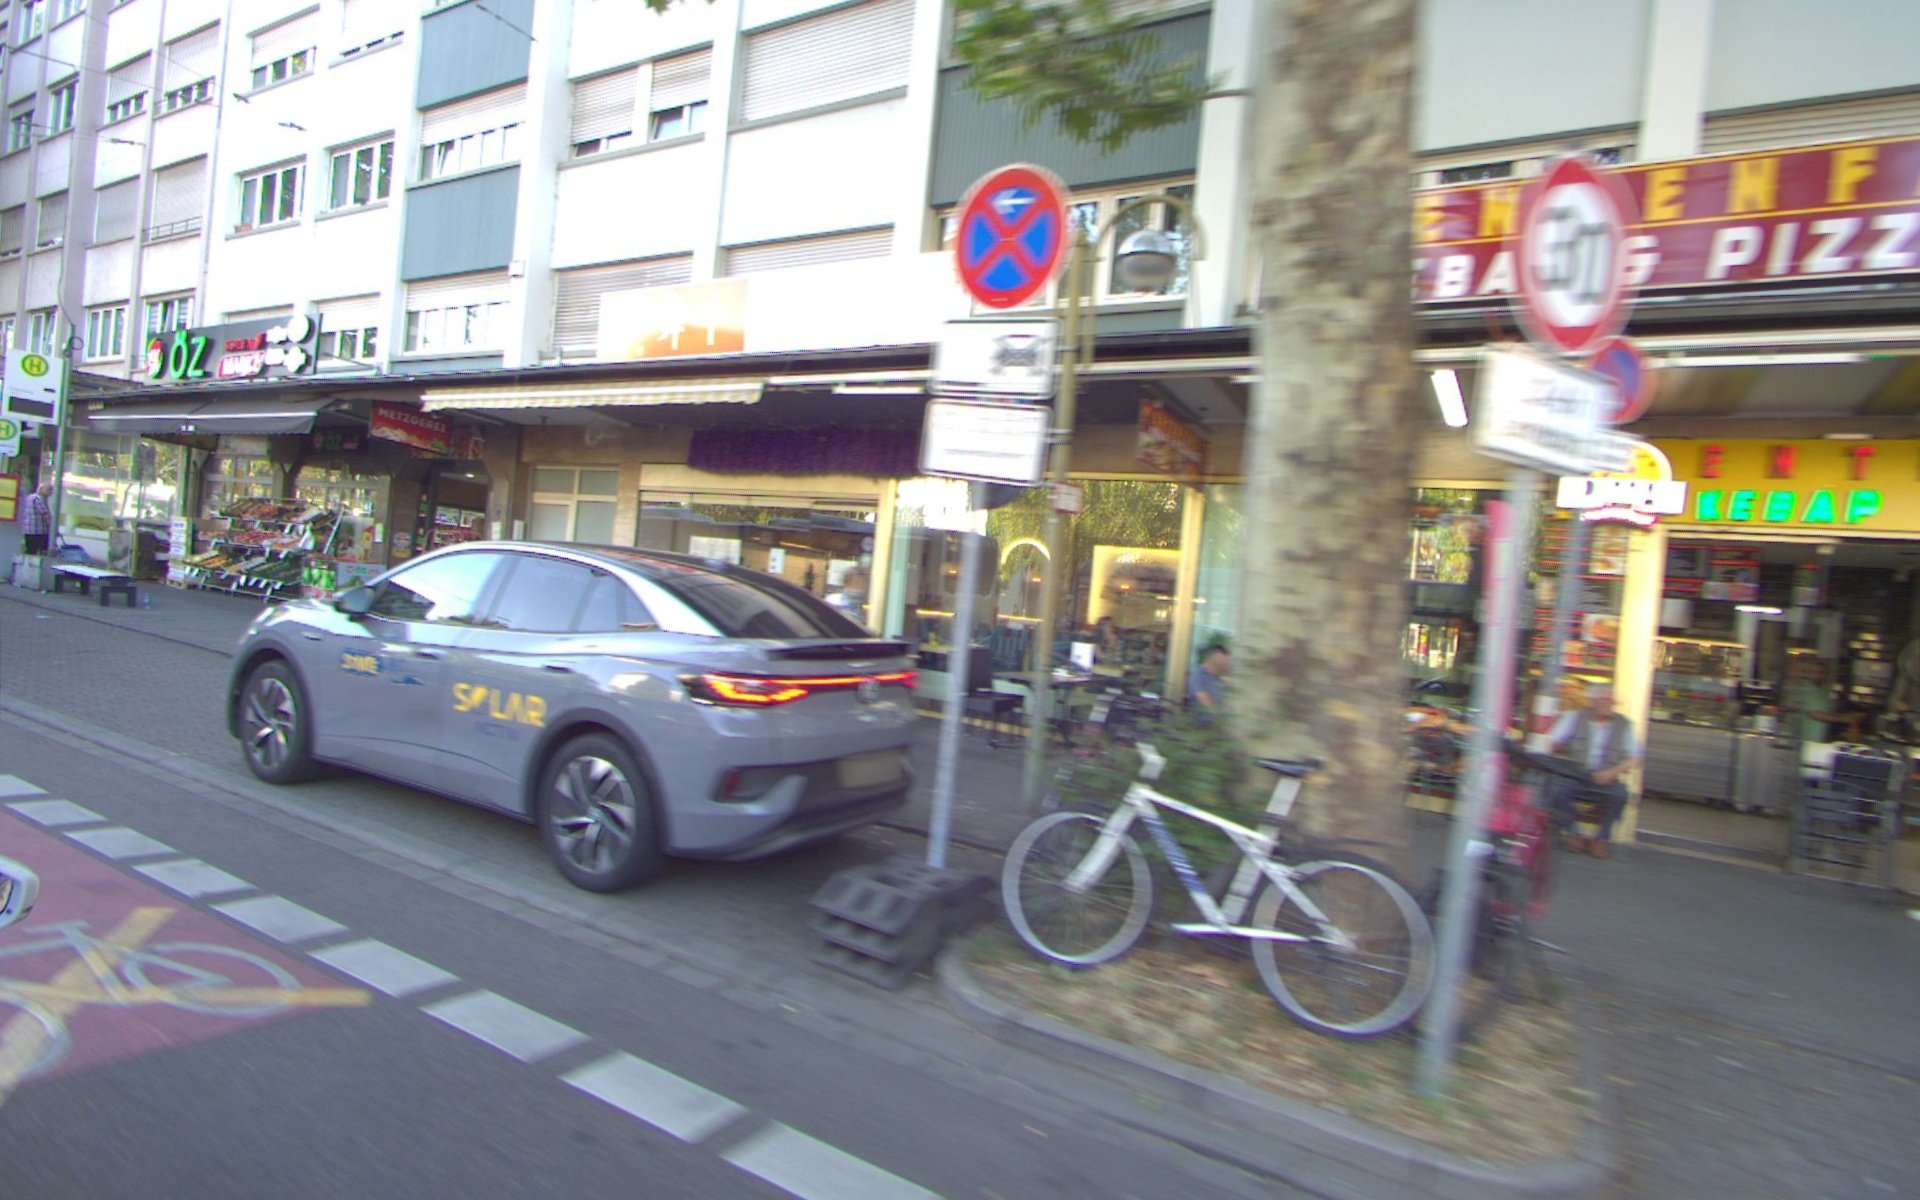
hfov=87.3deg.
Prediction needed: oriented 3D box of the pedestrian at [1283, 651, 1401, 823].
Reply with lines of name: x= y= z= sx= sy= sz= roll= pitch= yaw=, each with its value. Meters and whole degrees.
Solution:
pedestrian: x=3.123 y=1.086 z=8.221 sx=0.680 sy=1.262 sz=0.558 roll=7 pitch=3 yaw=34

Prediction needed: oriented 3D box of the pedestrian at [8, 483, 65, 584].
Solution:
pedestrian: x=-16.296 y=-1.171 z=17.758 sx=0.660 sy=1.689 sz=0.593 roll=3 pitch=3 yaw=-41

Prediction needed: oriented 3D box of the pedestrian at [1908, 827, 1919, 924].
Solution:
pedestrian: x=6.423 y=1.472 z=6.044 sx=0.798 sy=1.225 sz=0.654 roll=7 pitch=2 yaw=29

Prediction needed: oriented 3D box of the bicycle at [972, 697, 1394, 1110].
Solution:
bicycle: x=0.835 y=1.067 z=3.969 sx=1.422 sy=1.169 sz=0.552 roll=6 pitch=1 yaw=37

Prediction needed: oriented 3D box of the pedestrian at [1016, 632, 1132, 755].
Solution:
pedestrian: x=1.145 y=0.936 z=10.219 sx=0.940 sy=1.094 sz=0.639 roll=6 pitch=1 yaw=-8

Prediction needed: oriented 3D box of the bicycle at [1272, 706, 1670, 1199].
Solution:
bicycle: x=2.055 y=1.109 z=3.811 sx=2.376 sy=1.171 sz=0.547 roll=0 pitch=5 yaw=-45

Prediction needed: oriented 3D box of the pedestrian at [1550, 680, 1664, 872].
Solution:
pedestrian: x=4.778 y=1.268 z=7.470 sx=0.550 sy=1.252 sz=0.689 roll=7 pitch=2 yaw=30

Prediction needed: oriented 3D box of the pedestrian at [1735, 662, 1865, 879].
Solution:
pedestrian: x=6.610 y=1.305 z=7.951 sx=0.589 sy=1.560 sz=0.700 roll=6 pitch=1 yaw=35

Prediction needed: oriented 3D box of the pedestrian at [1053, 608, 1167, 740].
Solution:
pedestrian: x=1.692 y=0.818 z=11.456 sx=0.958 sy=1.350 sz=0.830 roll=6 pitch=1 yaw=-8

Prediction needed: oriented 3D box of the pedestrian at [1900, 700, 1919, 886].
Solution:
pedestrian: x=7.432 y=1.335 z=7.353 sx=0.589 sy=1.567 sz=0.700 roll=6 pitch=1 yaw=35

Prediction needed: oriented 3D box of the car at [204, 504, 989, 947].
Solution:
car: x=-2.246 y=0.452 z=6.035 sx=4.292 sy=1.603 sz=1.995 roll=7 pitch=2 yaw=28

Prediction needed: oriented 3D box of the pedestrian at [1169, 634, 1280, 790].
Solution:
pedestrian: x=2.356 y=0.972 z=8.964 sx=0.680 sy=1.262 sz=0.557 roll=7 pitch=3 yaw=39
